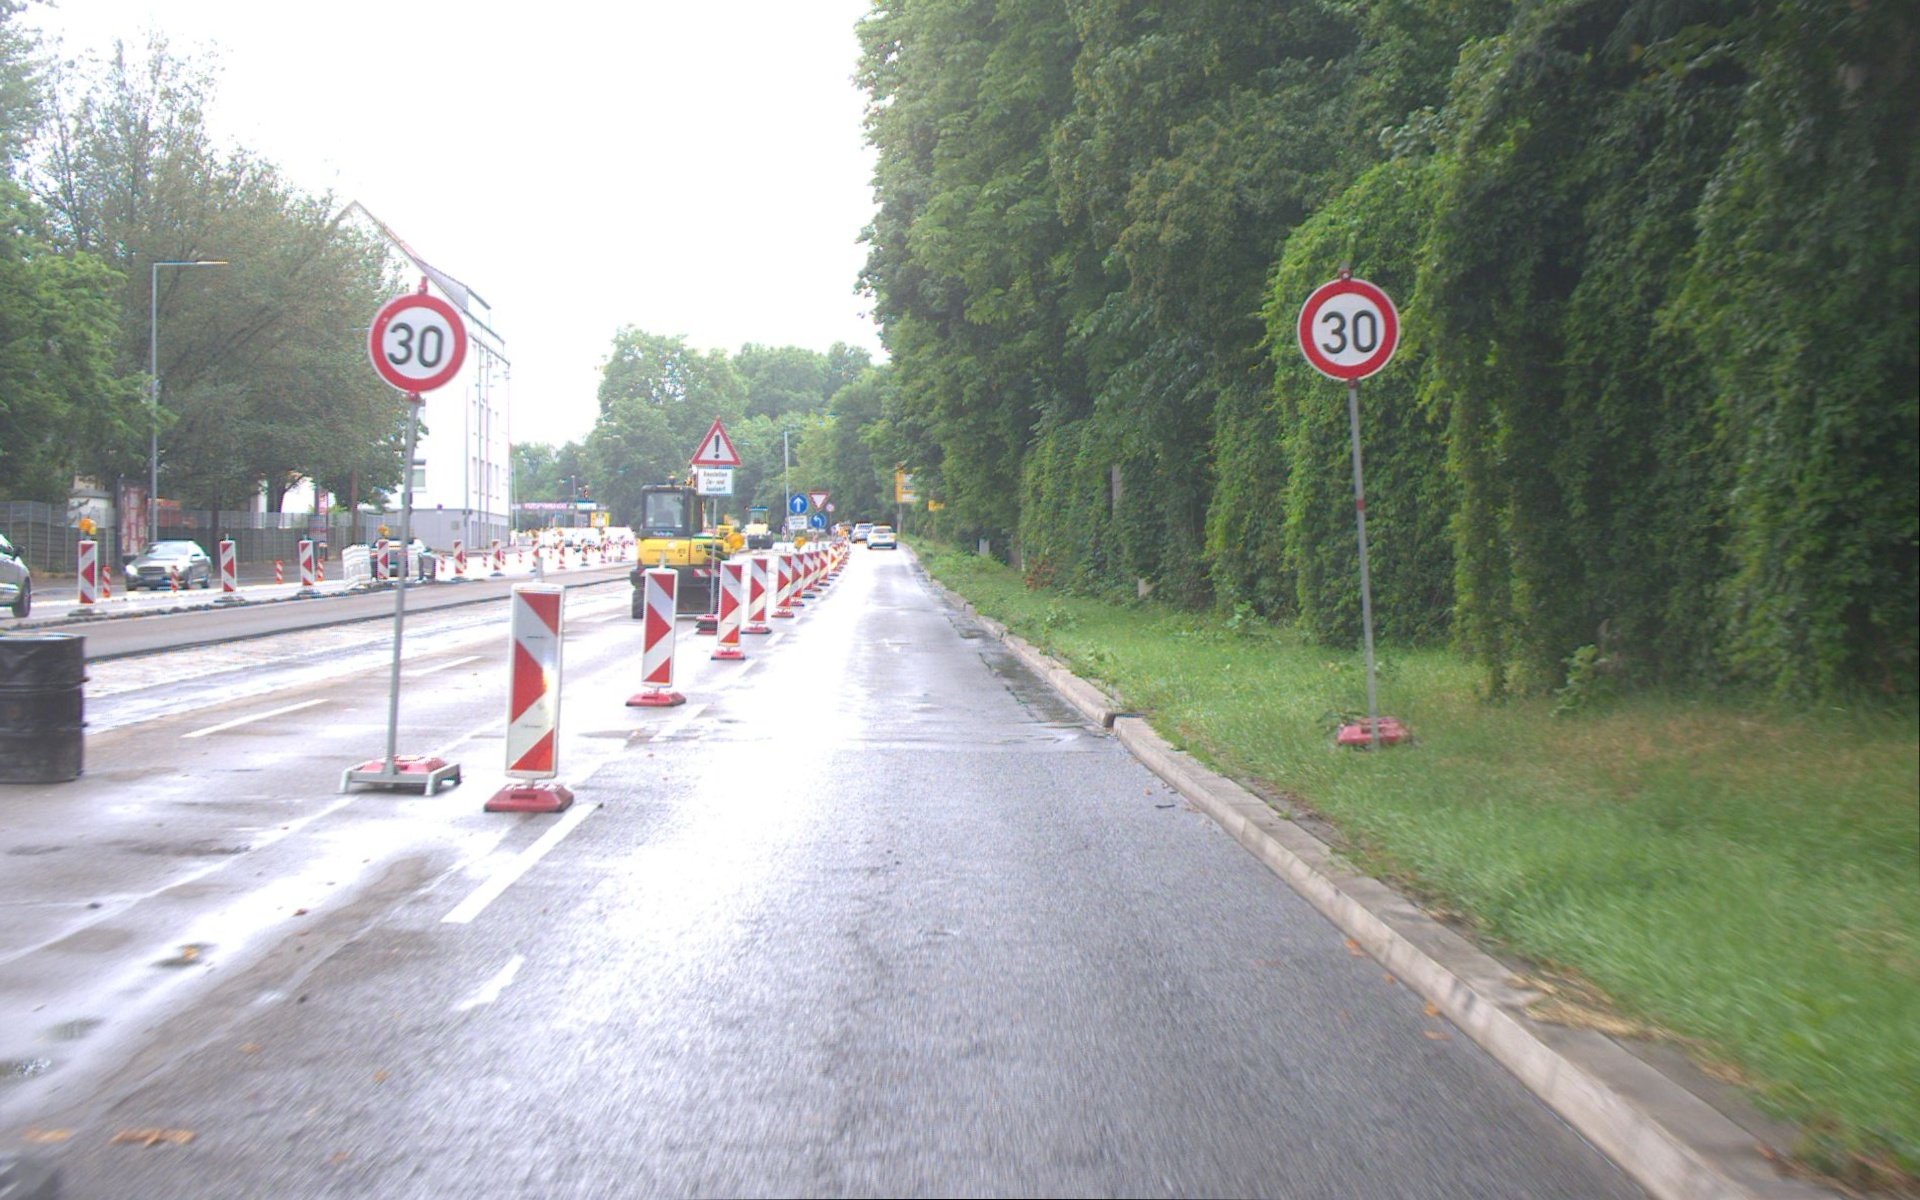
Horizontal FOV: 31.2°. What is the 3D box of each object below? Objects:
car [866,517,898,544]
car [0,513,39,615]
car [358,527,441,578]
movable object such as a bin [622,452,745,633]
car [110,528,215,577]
[{"bbox_3d":[-4.953,-4.387,218.539,1.993,1.667,4.000,1,1,-1],"label":"car"},{"bbox_3d":[-16.315,-0.600,55.562,1.854,1.642,4.000,1,1,-1],"label":"car"},{"bbox_3d":[-17.402,-1.478,106.909,1.993,1.514,4.000,1,1,-2],"label":"car"},{"bbox_3d":[-5.370,-1.122,67.390,1.993,3.356,5.983,1,1,-1],"label":"movable object such as a bin"},{"bbox_3d":[-23.113,-1.387,99.833,1.993,1.343,4.791,1,1,-1],"label":"car"}]
